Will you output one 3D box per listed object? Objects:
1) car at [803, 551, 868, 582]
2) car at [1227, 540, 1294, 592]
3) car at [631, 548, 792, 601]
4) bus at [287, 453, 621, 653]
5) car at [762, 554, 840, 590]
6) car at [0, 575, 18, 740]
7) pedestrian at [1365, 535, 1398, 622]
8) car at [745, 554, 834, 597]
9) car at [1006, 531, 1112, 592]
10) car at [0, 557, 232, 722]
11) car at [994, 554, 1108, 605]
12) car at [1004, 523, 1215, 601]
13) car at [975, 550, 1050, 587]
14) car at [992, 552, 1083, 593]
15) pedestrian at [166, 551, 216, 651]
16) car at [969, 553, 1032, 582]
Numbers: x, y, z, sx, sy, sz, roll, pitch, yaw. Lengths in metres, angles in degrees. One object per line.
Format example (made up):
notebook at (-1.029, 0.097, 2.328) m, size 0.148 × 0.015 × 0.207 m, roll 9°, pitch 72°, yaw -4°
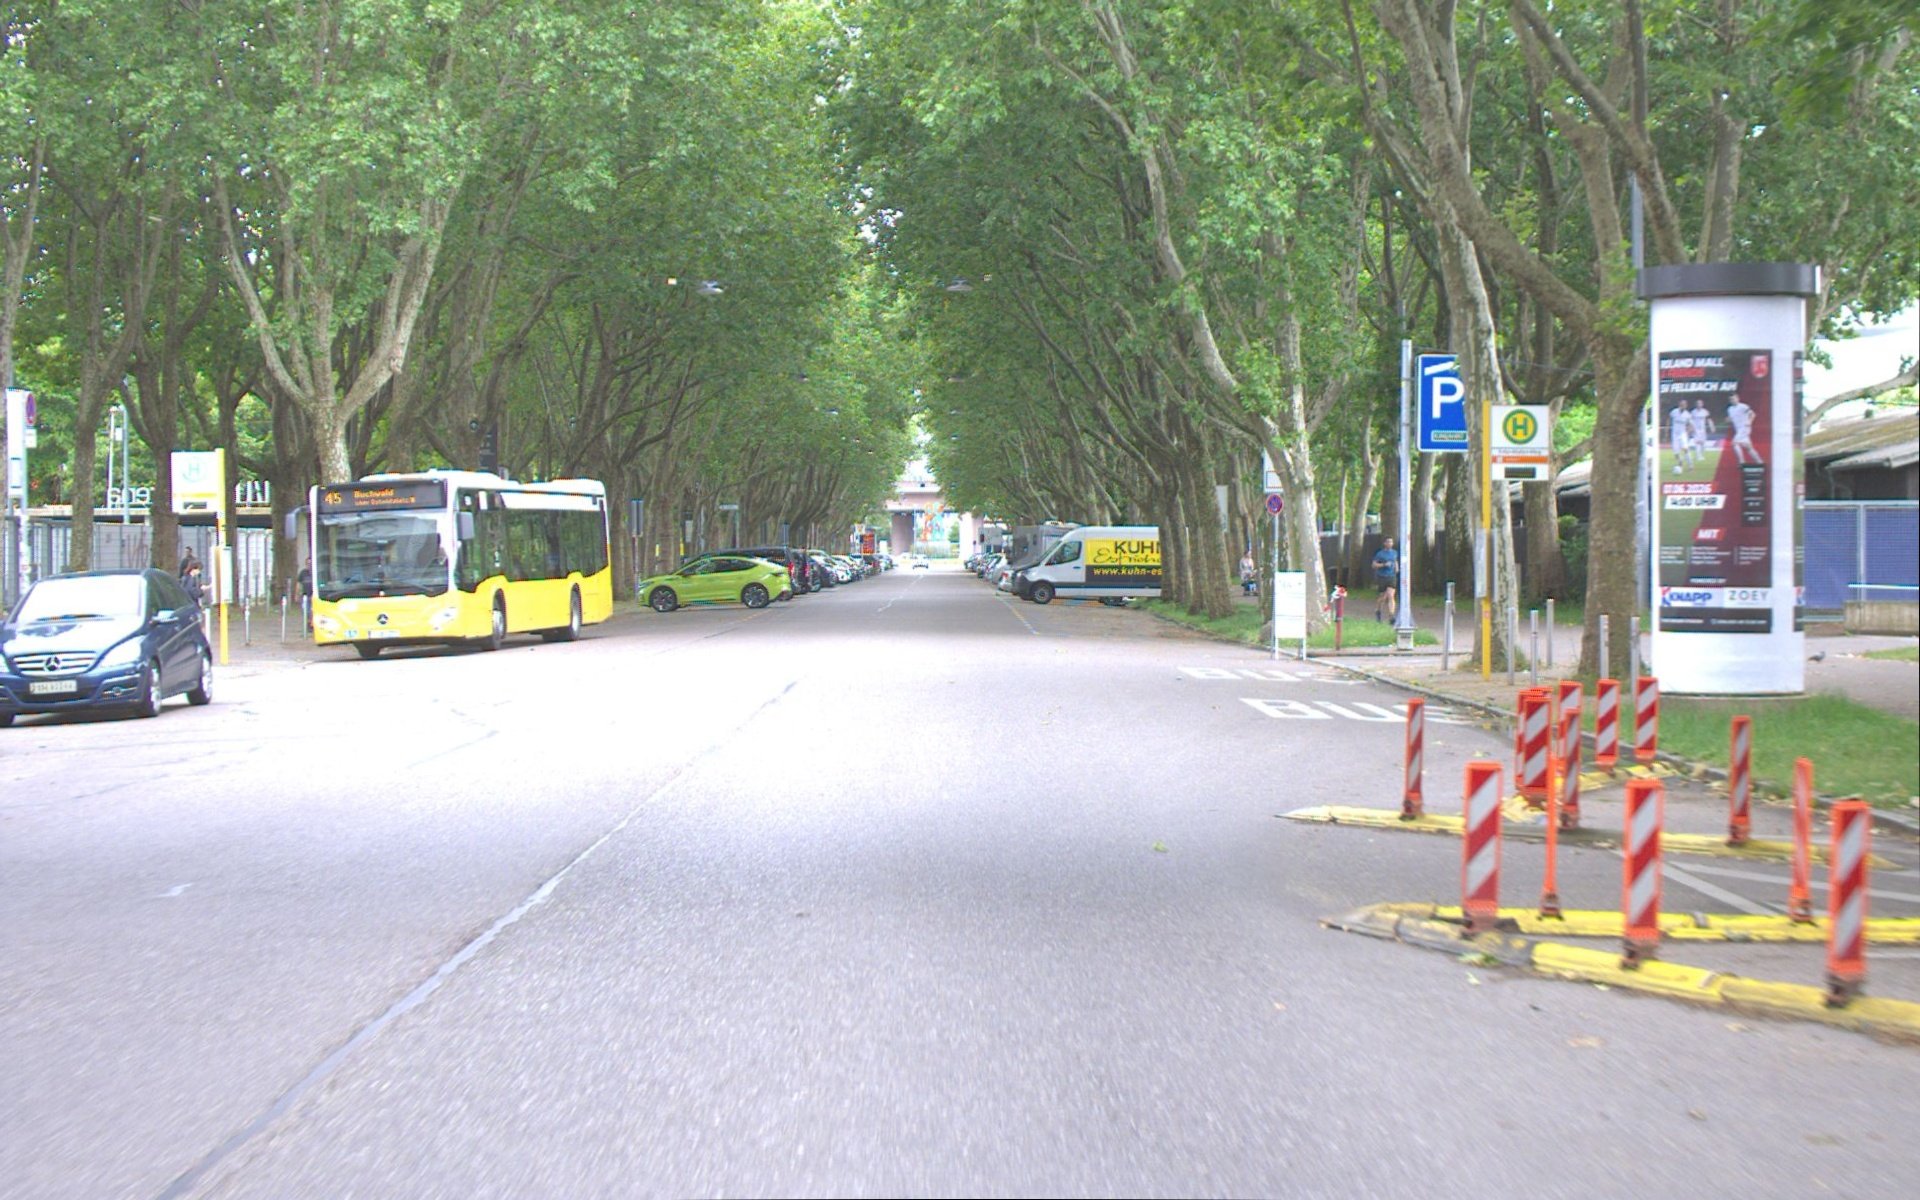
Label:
car at (-7.883, -2.118, 217.891) m, size 3.987 × 1.963 × 2.000 m, roll 0°, pitch 1°, yaw 1°
car at (10.391, -1.182, 119.185) m, size 1.993 × 1.766 × 4.000 m, roll 0°, pitch 1°, yaw 0°
car at (-7.498, -0.772, 103.938) m, size 4.700 × 1.579 × 1.864 m, roll 0°, pitch 1°, yaw 1°
bus at (-8.868, -0.854, 62.299) m, size 3.039 × 3.149 × 12.675 m, roll -2°, pitch 1°, yaw 5°
car at (-7.727, -1.383, 166.879) m, size 3.661 × 1.736 × 1.507 m, roll 0°, pitch 1°, yaw 3°
car at (-9.437, 0.589, 28.656) m, size 1.858 × 1.448 × 4.449 m, roll -3°, pitch 1°, yaw 0°
pedestrian at (9.143, -0.460, 74.566) m, size 0.572 × 1.881 × 0.617 m, roll 0°, pitch 1°, yaw -9°
car at (-7.309, -1.050, 147.735) m, size 3.661 × 1.857 × 1.624 m, roll 0°, pitch 1°, yaw 3°
car at (3.786, -1.476, 131.897) m, size 3.987 × 2.331 × 1.543 m, roll 0°, pitch 1°, yaw -1°
car at (-9.323, 0.388, 37.046) m, size 1.993 × 1.579 × 4.113 m, roll -3°, pitch 1°, yaw 0°
car at (3.199, -0.737, 121.266) m, size 3.987 × 1.788 × 1.543 m, roll 0°, pitch 1°, yaw -1°
car at (4.908, -1.268, 113.800) m, size 6.823 × 2.505 × 2.317 m, roll 0°, pitch 1°, yaw -2°
car at (2.557, -1.536, 167.060) m, size 3.621 × 1.788 × 1.543 m, roll 0°, pitch 1°, yaw -1°
car at (3.432, -1.213, 152.495) m, size 3.987 × 1.788 × 1.543 m, roll 0°, pitch 1°, yaw -1°
pedestrian at (-12.398, 0.009, 55.416) m, size 0.667 × 1.598 × 0.611 m, roll 0°, pitch 1°, yaw -25°
car at (2.575, -2.064, 217.622) m, size 3.987 × 1.855 × 1.637 m, roll 0°, pitch 1°, yaw 1°
